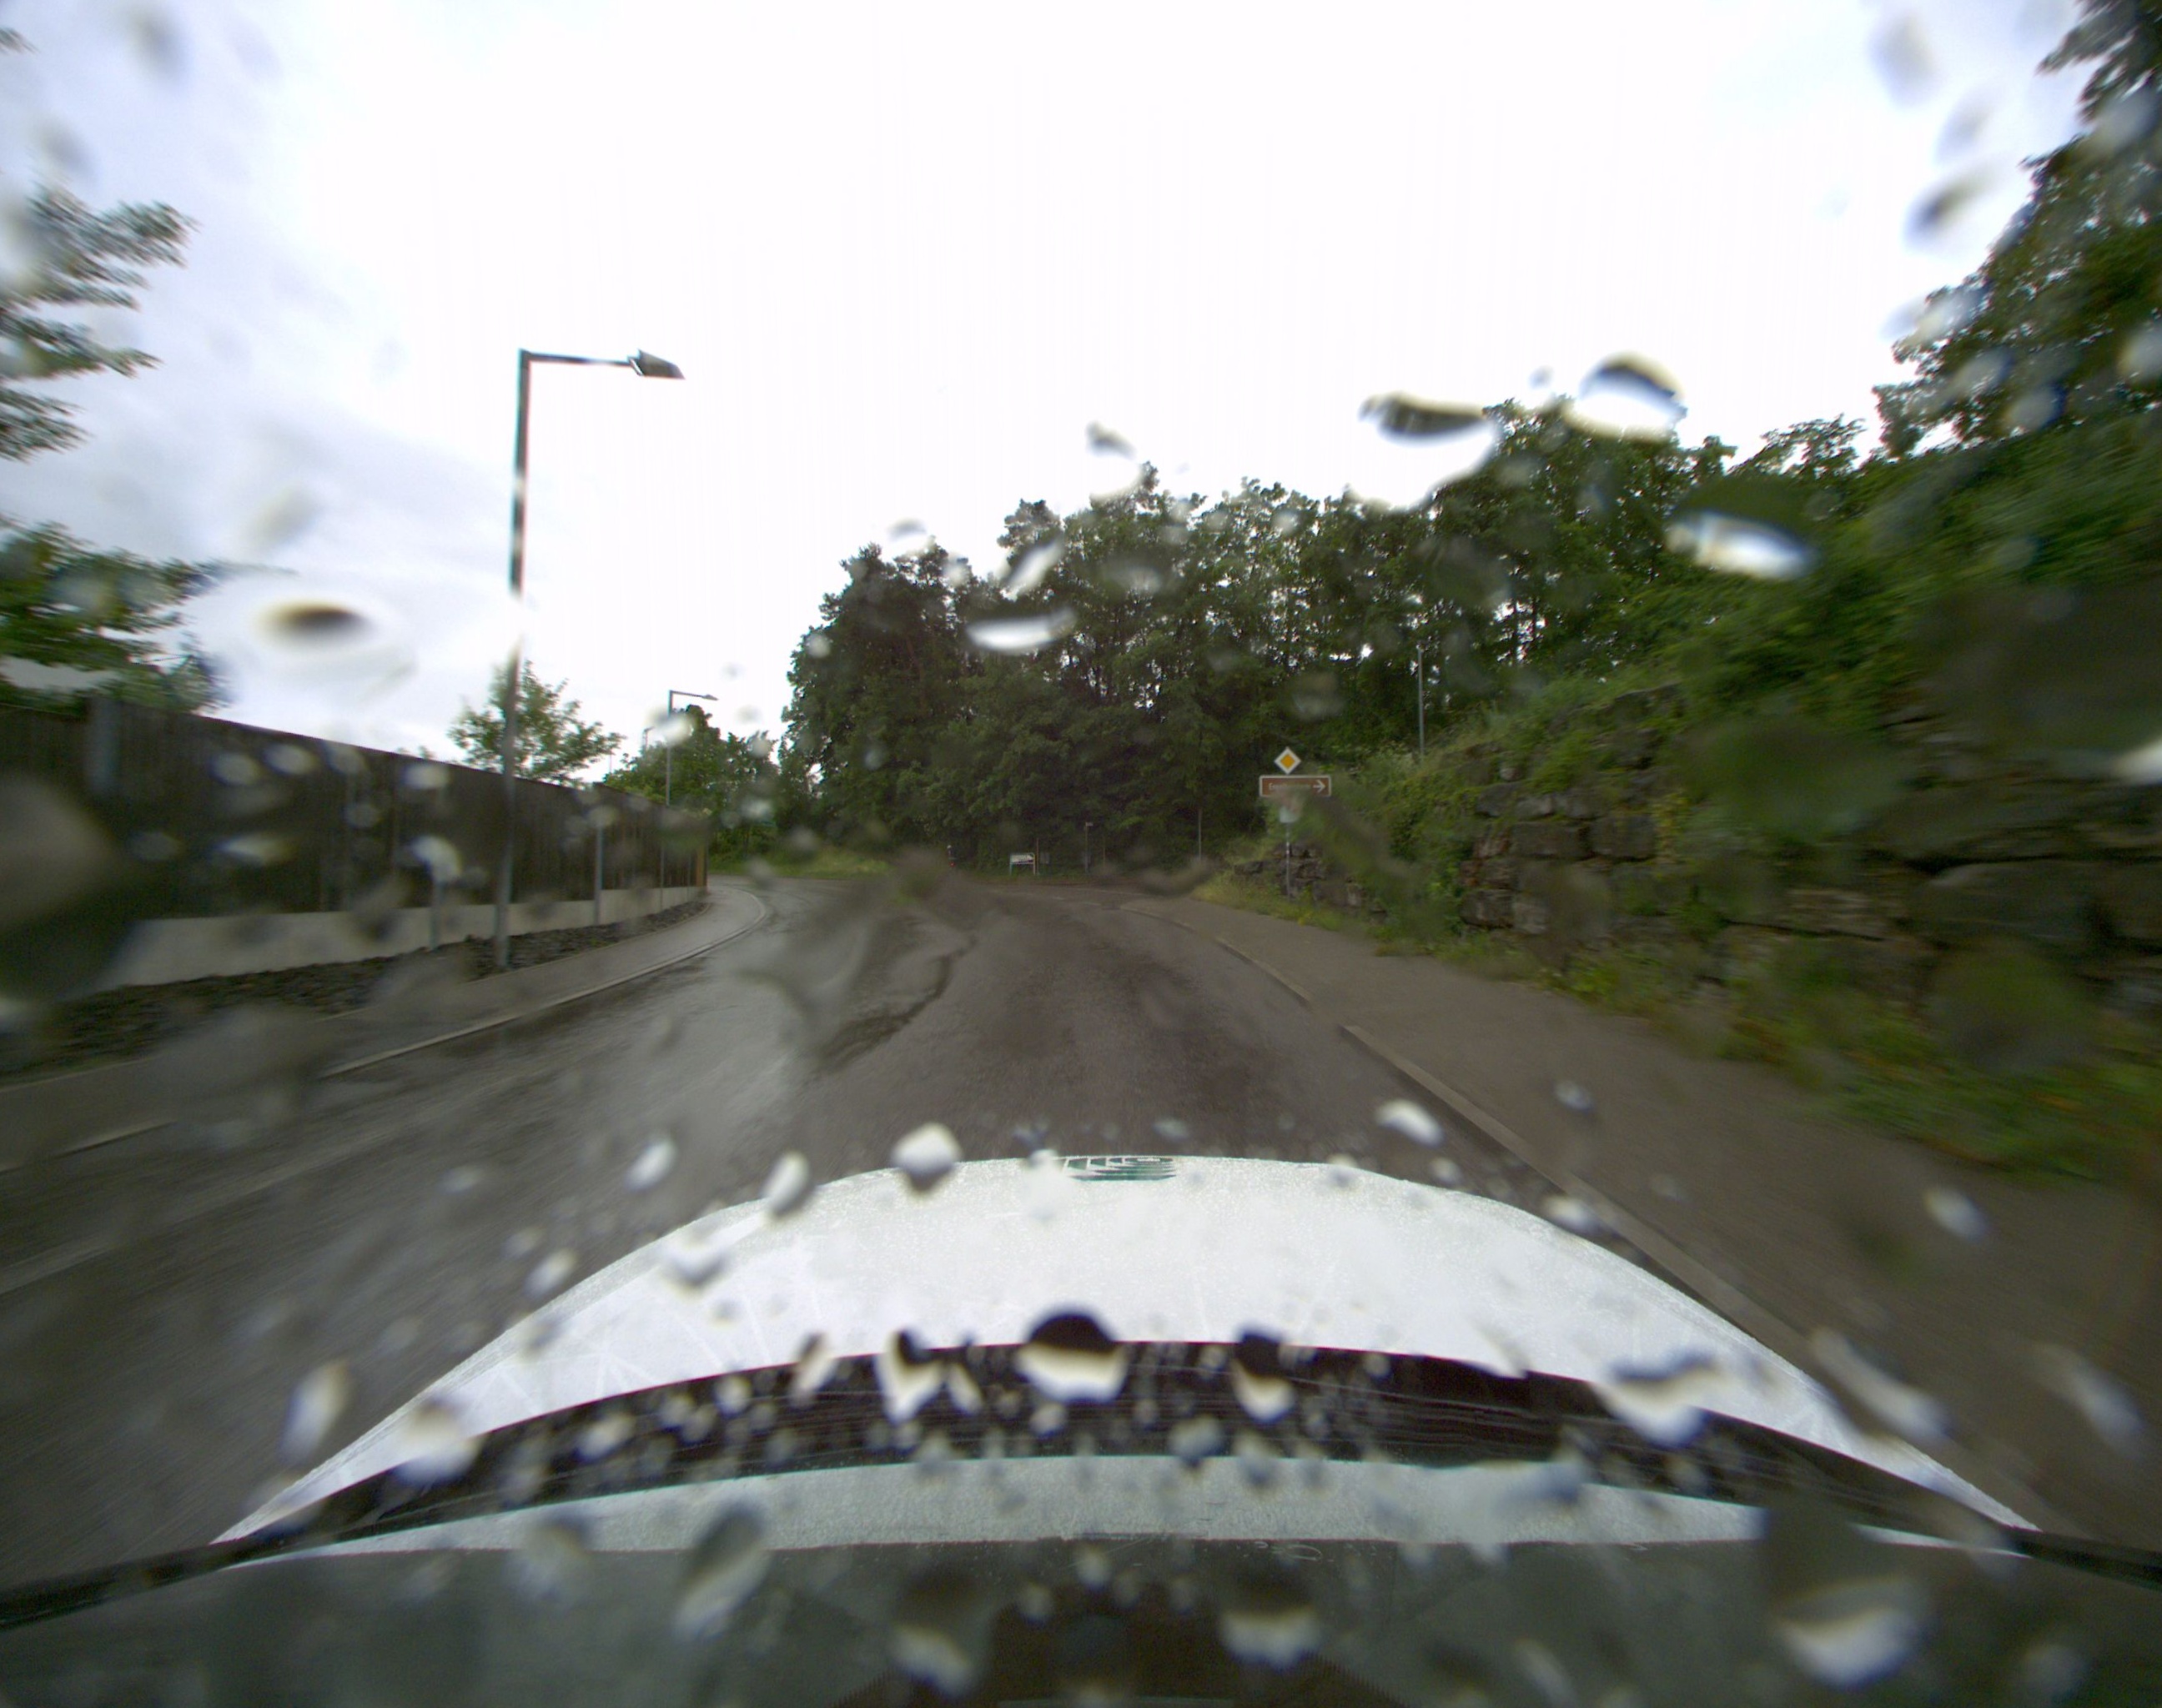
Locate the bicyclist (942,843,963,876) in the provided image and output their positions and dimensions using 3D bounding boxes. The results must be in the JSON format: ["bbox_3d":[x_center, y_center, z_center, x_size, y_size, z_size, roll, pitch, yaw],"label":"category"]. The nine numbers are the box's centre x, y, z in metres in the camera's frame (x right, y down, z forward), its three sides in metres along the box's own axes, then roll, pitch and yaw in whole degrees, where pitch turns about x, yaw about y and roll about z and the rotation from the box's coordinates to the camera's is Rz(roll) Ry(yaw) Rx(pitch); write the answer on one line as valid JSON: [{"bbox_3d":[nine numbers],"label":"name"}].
[{"bbox_3d":[-6.447,0.269,40.919,0.726,1.615,0.895,0,0,-37],"label":"bicyclist"}]

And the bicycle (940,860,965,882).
[{"bbox_3d":[-6.452,0.835,40.966,0.531,1.085,1.602,0,0,-37],"label":"bicycle"}]
